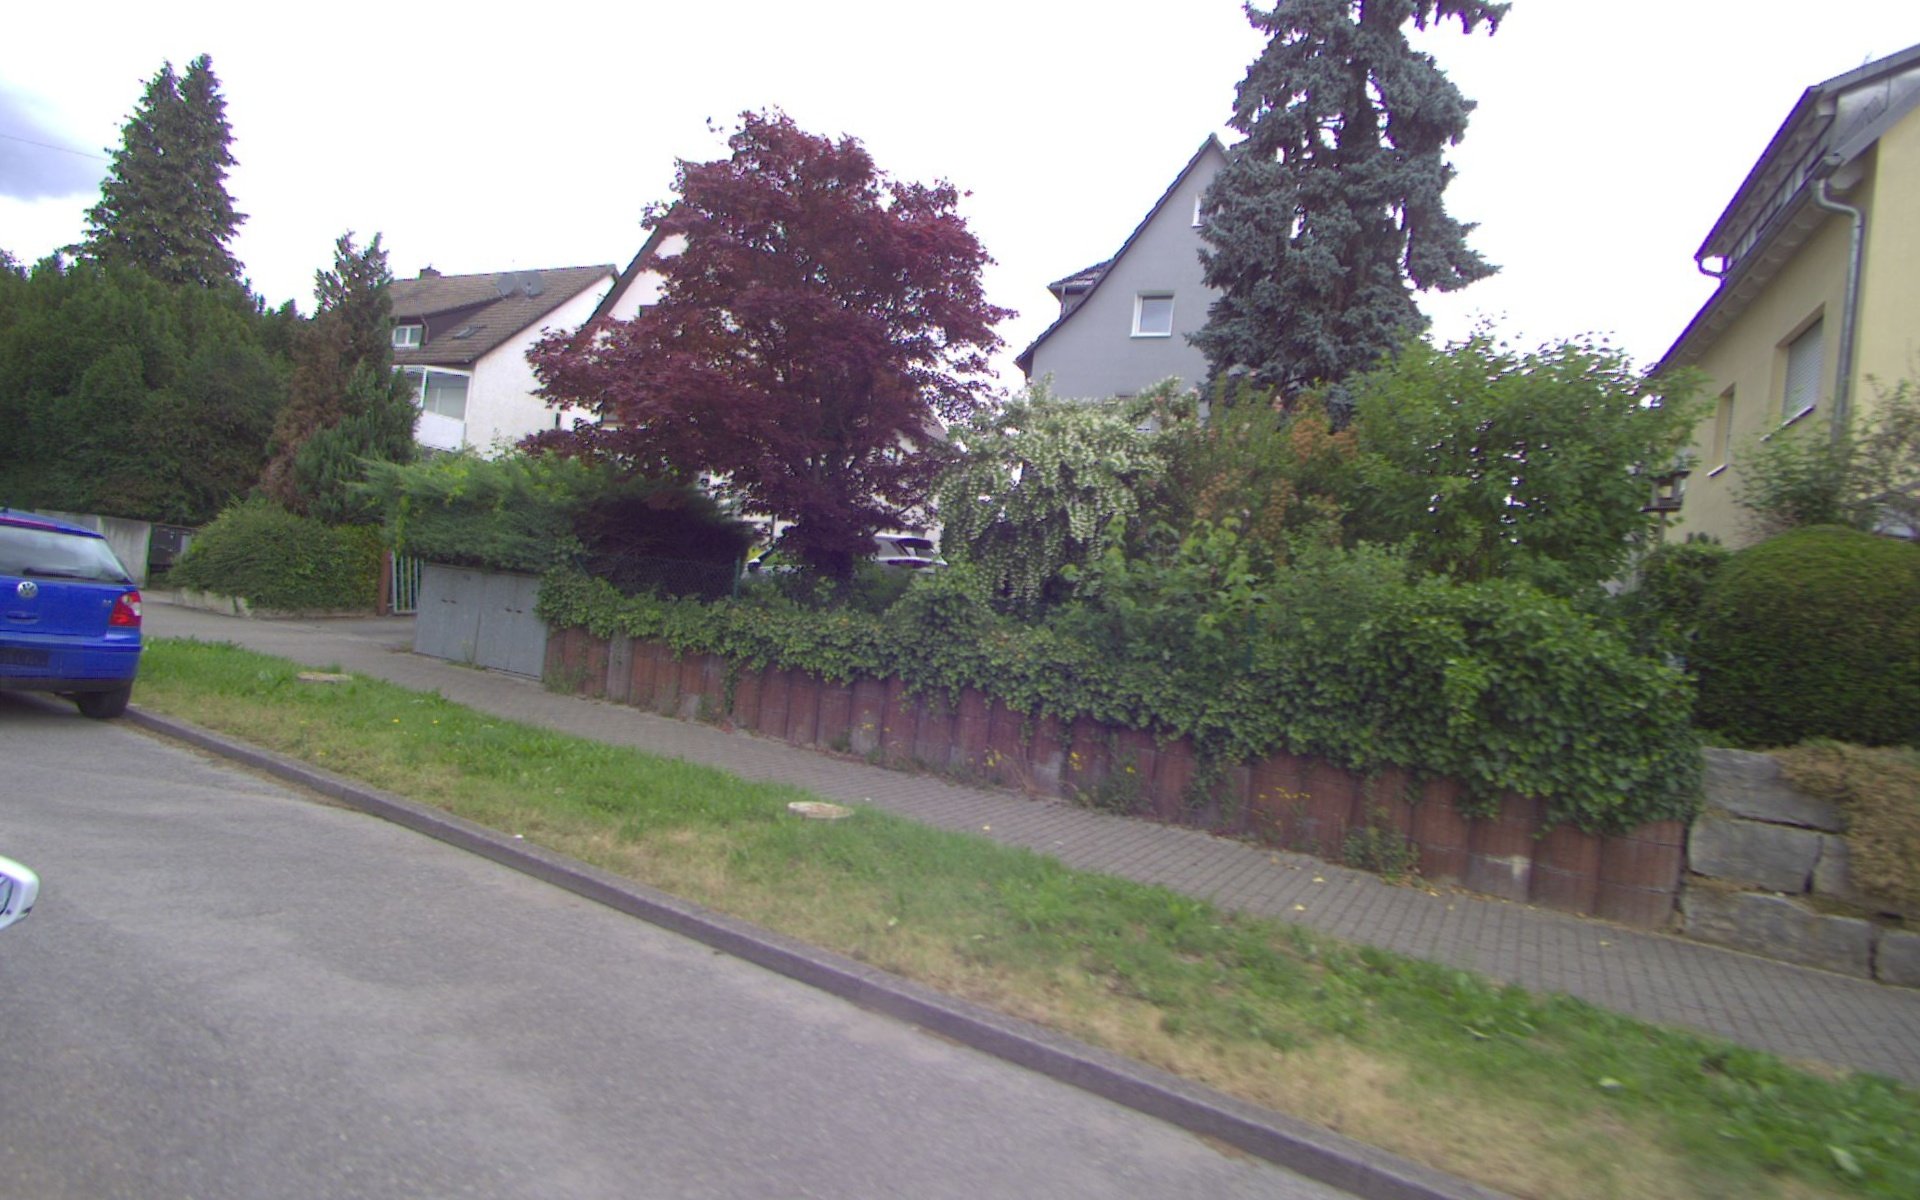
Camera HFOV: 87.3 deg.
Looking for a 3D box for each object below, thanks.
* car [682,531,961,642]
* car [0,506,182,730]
[{"bbox_3d":[-2.391,-0.216,17.176,4.459,1.700,1.780,1,0,25],"label":"car"},{"bbox_3d":[-7.923,-0.056,7.715,3.810,1.468,1.632,7,-3,30],"label":"car"}]
